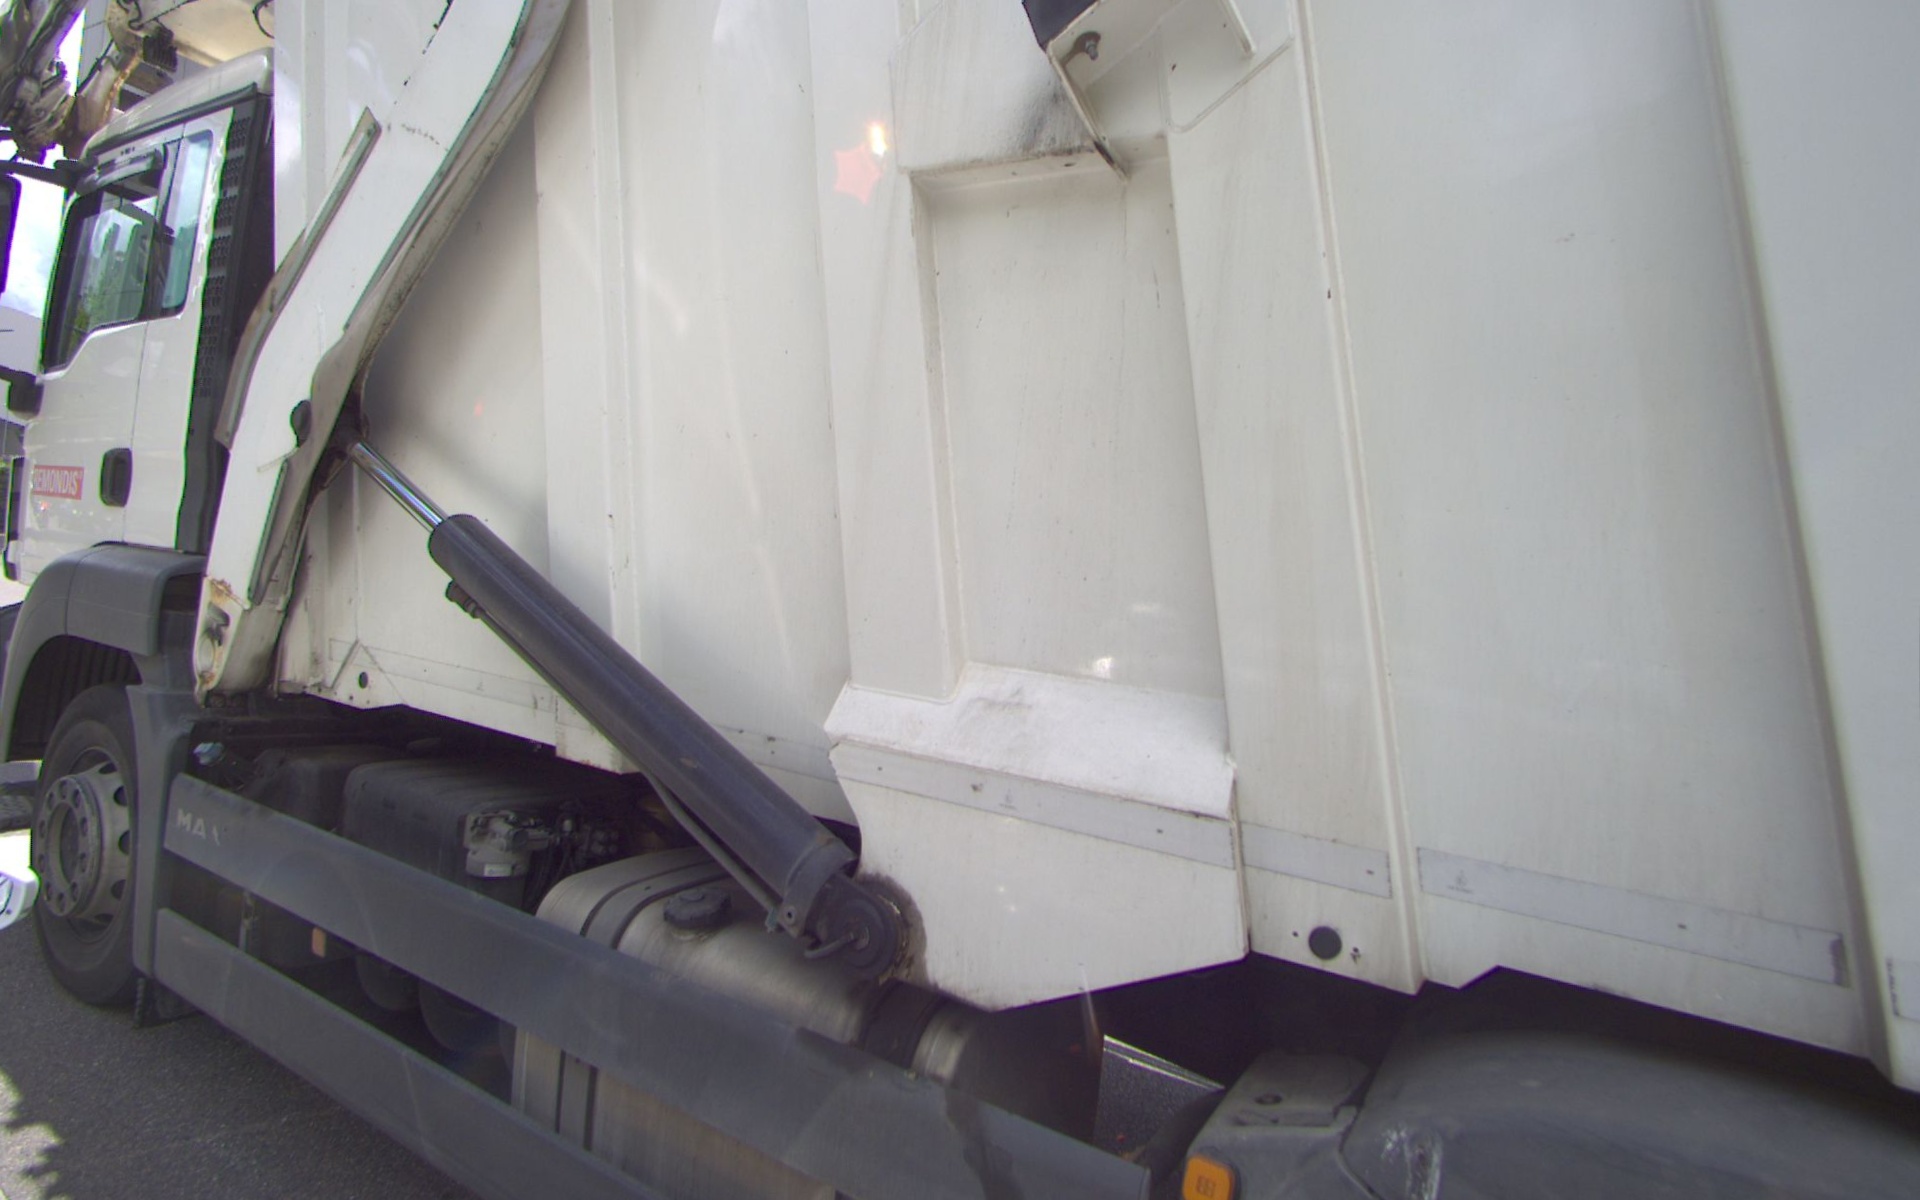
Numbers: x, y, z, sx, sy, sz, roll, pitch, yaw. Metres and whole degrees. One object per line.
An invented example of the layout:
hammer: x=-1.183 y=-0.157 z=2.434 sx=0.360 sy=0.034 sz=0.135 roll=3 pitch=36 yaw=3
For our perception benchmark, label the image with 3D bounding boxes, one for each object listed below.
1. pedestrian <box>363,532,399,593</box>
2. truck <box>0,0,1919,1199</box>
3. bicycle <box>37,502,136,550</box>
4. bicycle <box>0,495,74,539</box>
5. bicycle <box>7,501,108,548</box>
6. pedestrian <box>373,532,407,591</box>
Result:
pedestrian: x=-18.091 y=-1.179 z=31.429 sx=0.707 sy=1.818 sz=0.634 roll=3 pitch=4 yaw=-45
truck: x=1.099 y=-0.277 z=2.161 sx=10.003 sy=3.958 sz=2.494 roll=6 pitch=-1 yaw=31
bicycle: x=-27.085 y=-2.280 z=31.232 sx=2.166 sy=1.099 sz=0.474 roll=8 pitch=-1 yaw=-23
bicycle: x=-29.293 y=-2.630 z=31.484 sx=2.197 sy=1.099 sz=0.474 roll=8 pitch=-1 yaw=-23
bicycle: x=-28.052 y=-2.331 z=31.313 sx=2.197 sy=1.099 sz=0.474 roll=8 pitch=-1 yaw=-23
pedestrian: x=-18.282 y=-1.236 z=32.275 sx=0.707 sy=1.818 sz=0.685 roll=3 pitch=4 yaw=-44
